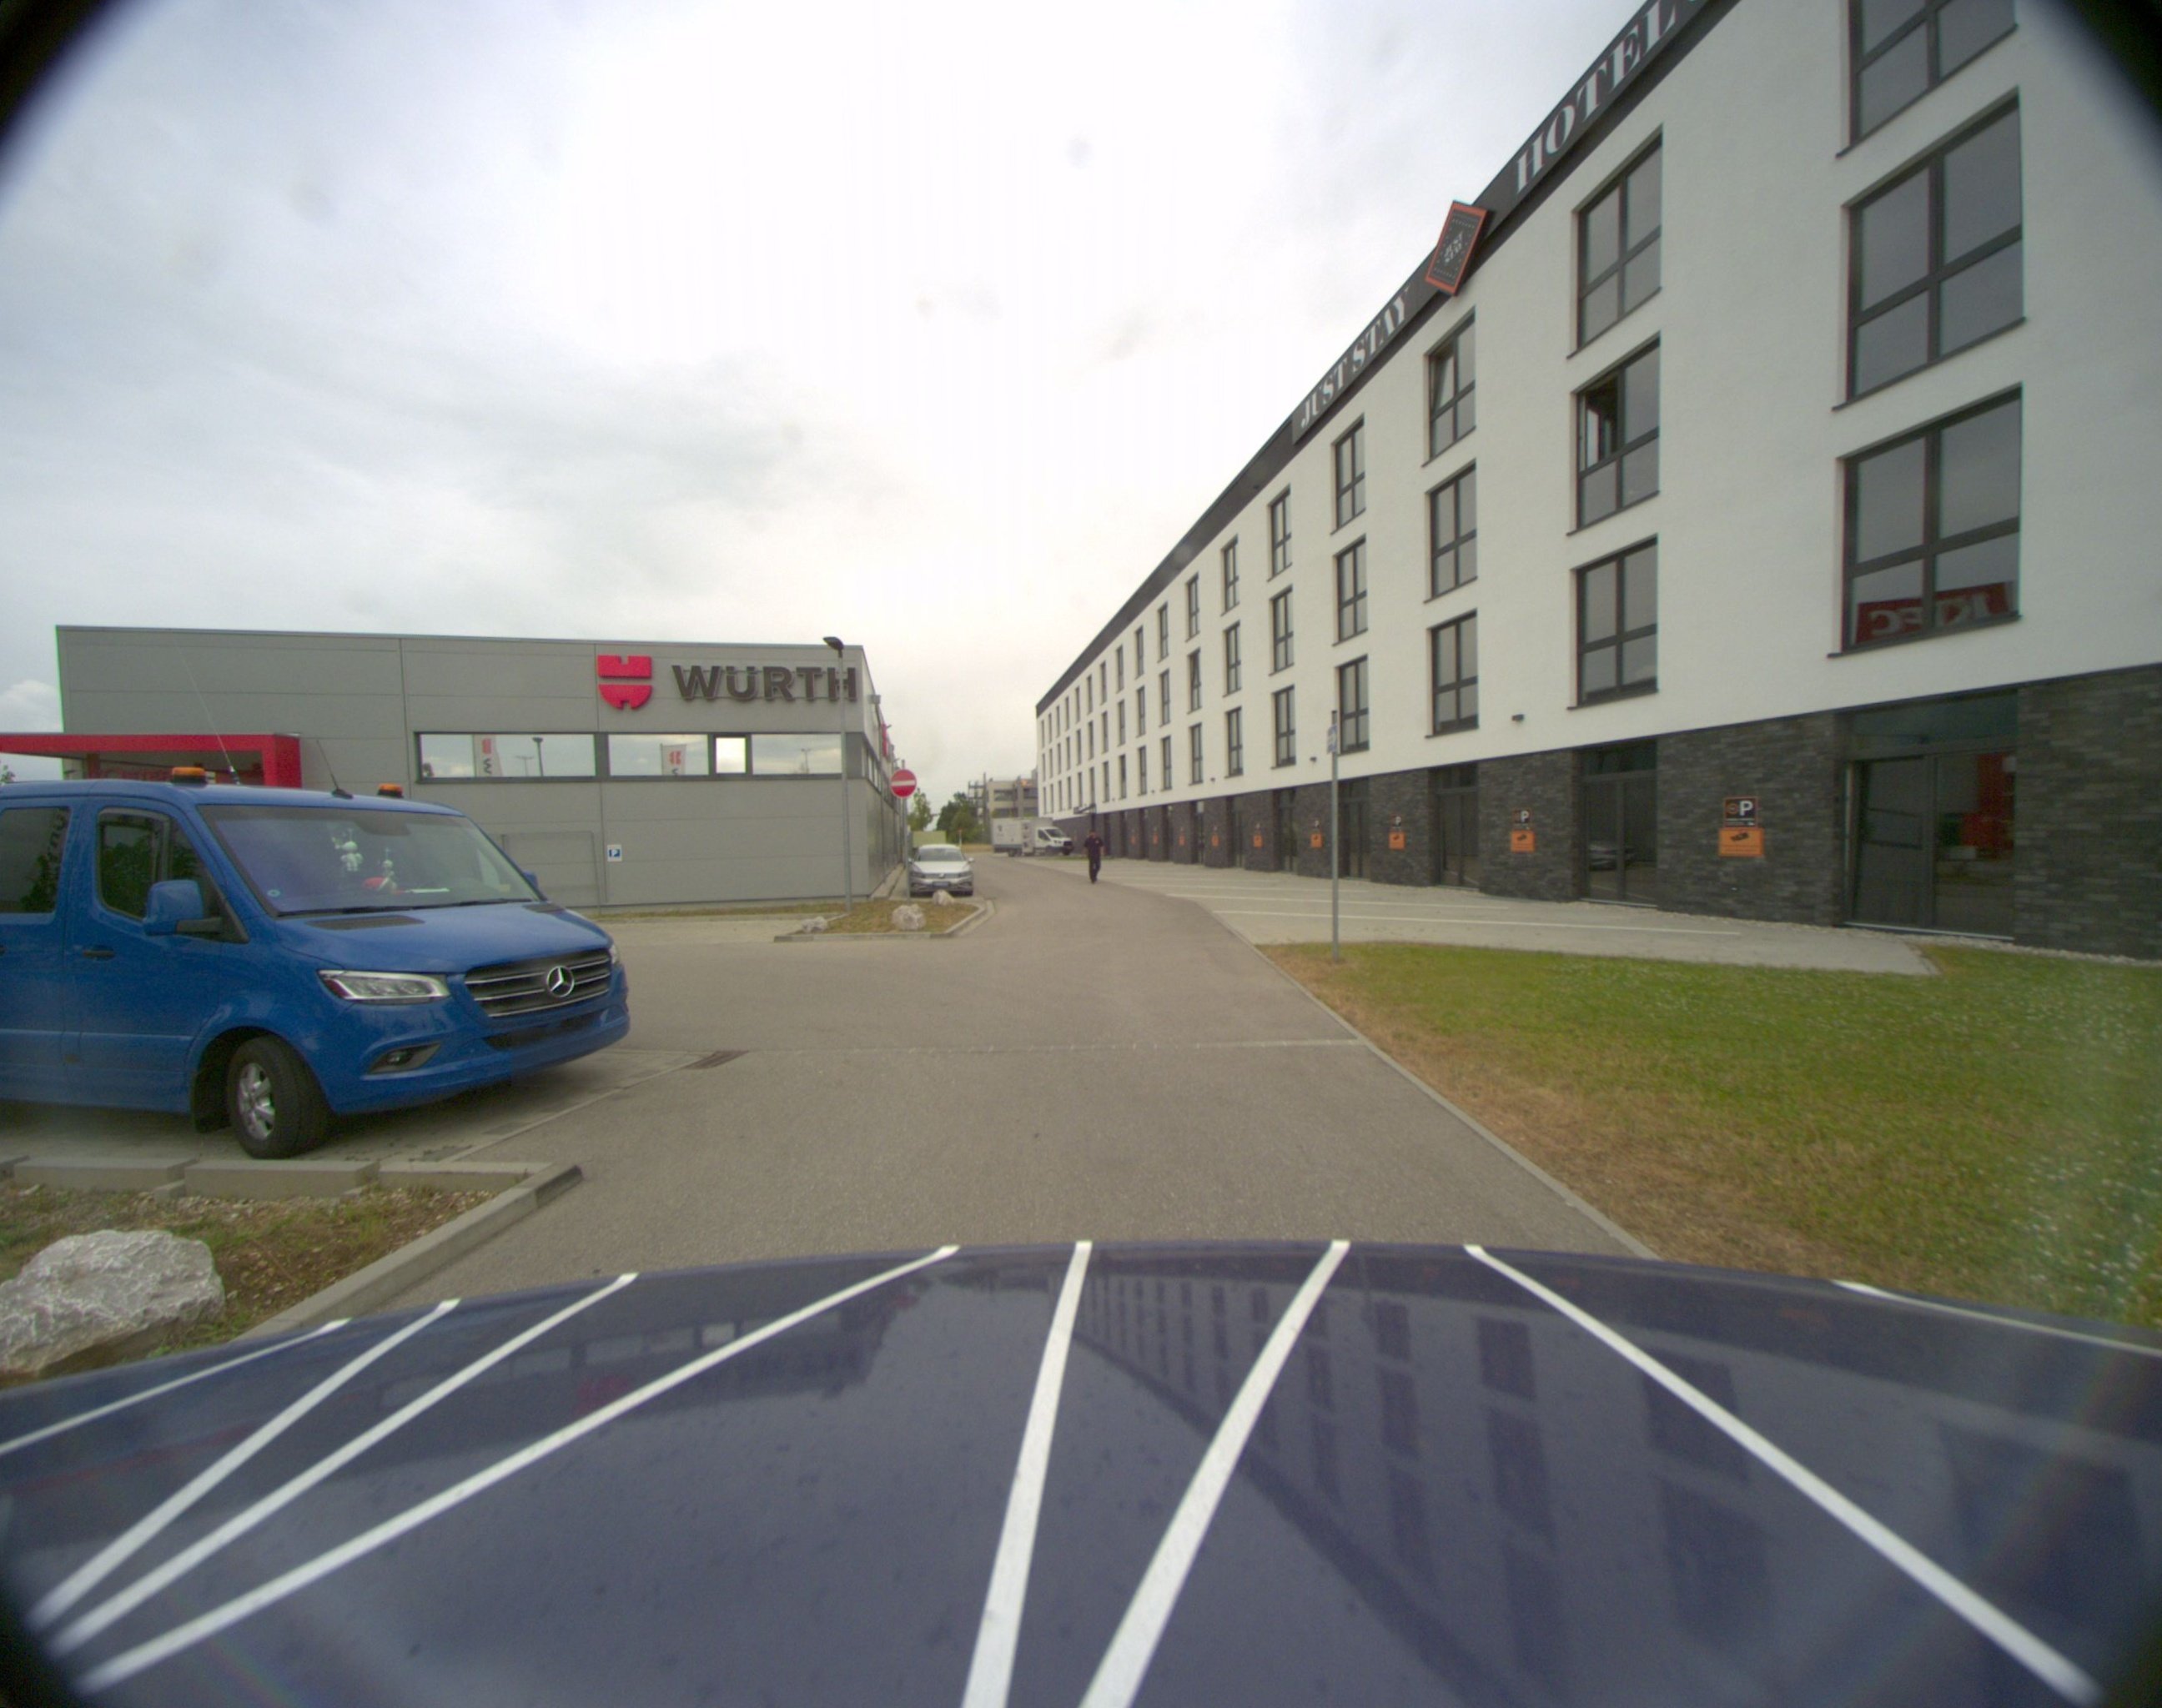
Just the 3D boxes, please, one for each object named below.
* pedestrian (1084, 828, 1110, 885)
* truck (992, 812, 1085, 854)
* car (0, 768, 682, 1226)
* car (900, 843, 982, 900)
[{"bbox_3d":[0.507,0.074,24.679,0.709,1.812,0.812,-2,2,-6],"label":"pedestrian"},{"bbox_3d":[-3.252,-1.538,57.153,7.048,3.000,2.441,0,3,39],"label":"truck"},{"bbox_3d":[-7.242,0.757,5.603,7.844,2.310,2.202,-1,2,11],"label":"car"},{"bbox_3d":[-4.151,0.456,23.228,1.980,1.483,4.767,0,2,-5],"label":"car"}]
